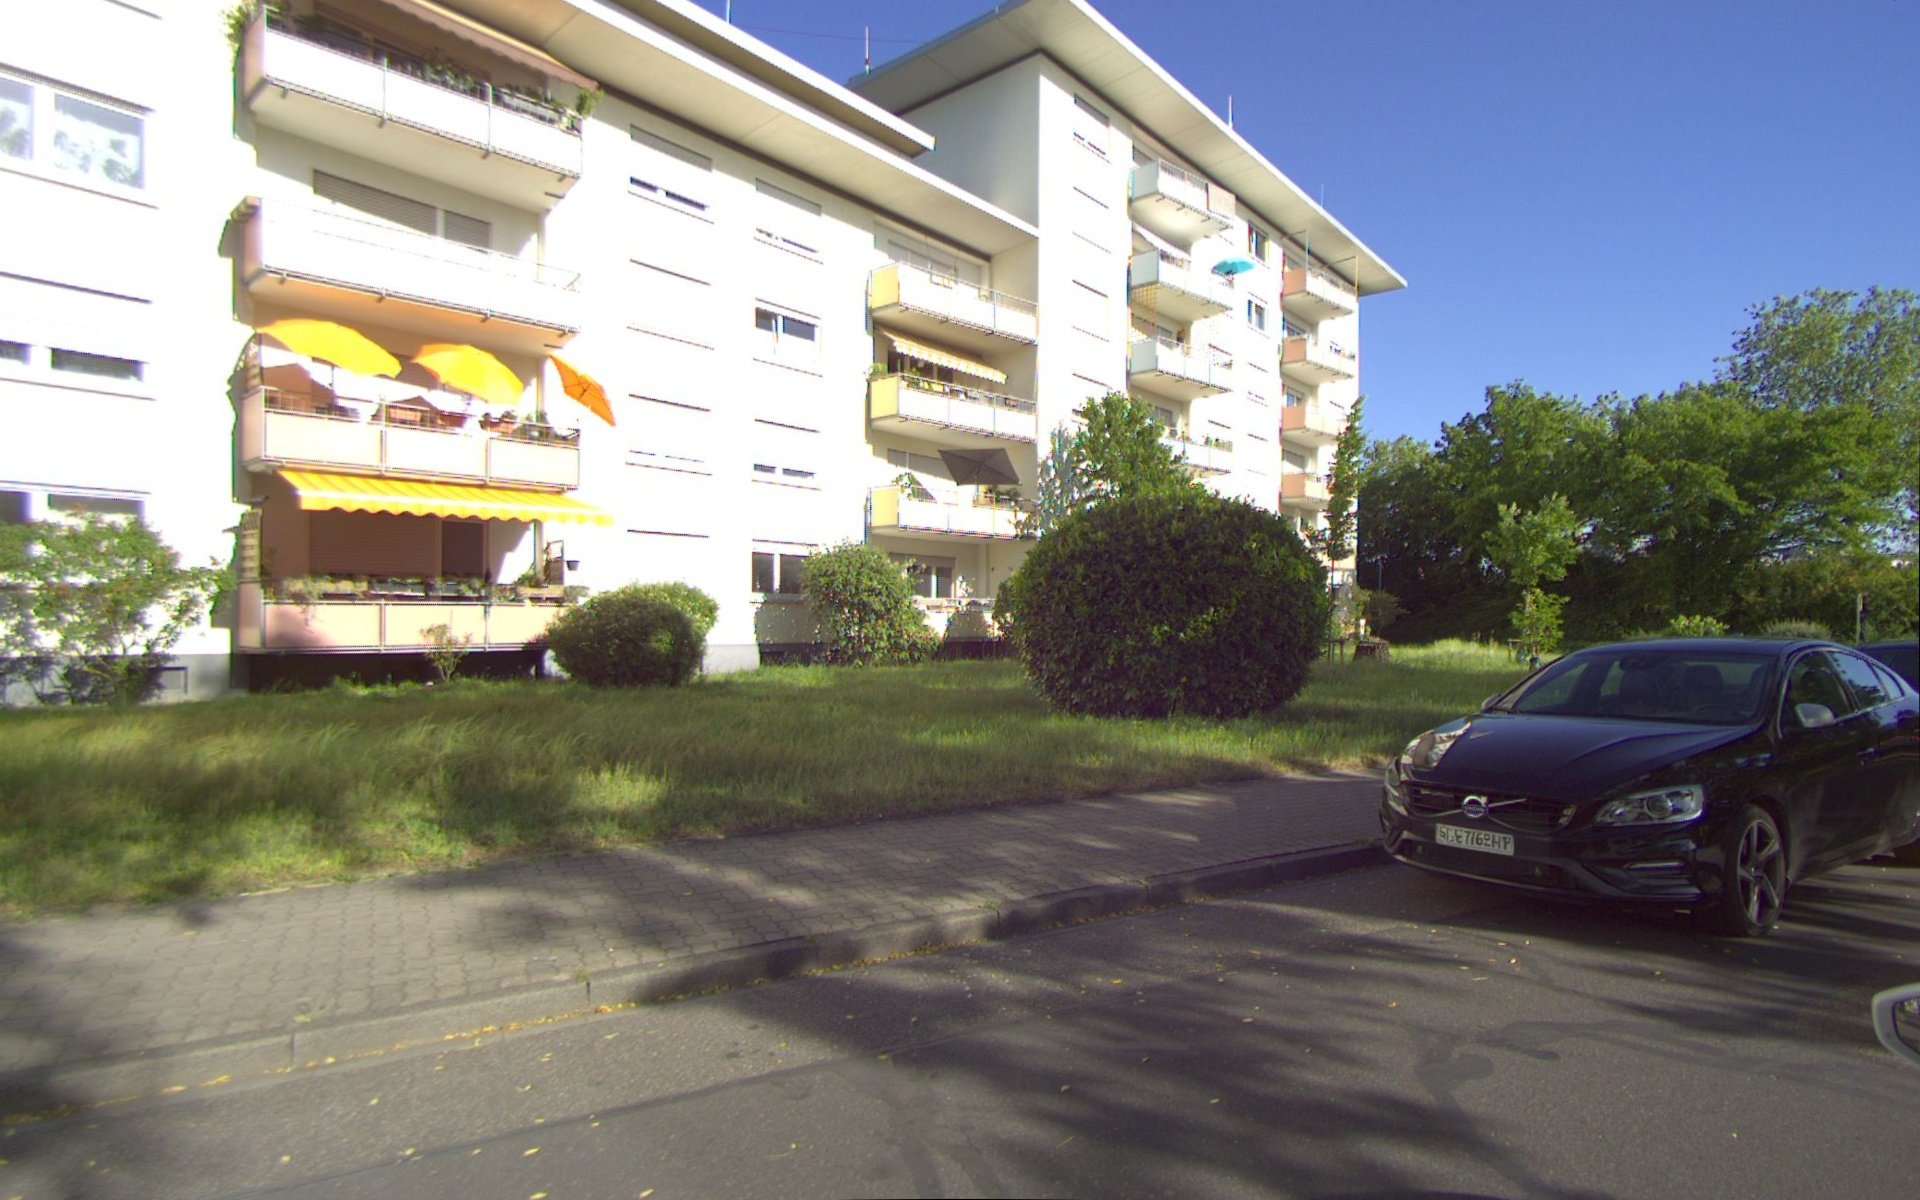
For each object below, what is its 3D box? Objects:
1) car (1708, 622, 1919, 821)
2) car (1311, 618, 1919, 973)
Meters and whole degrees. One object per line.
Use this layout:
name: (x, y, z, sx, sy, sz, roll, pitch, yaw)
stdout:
car: (8.961, 0.979, 9.127, 4.521, 1.500, 1.832, 1, -4, -31)
car: (4.538, 0.892, 6.308, 4.746, 1.501, 1.830, 1, -2, -32)
